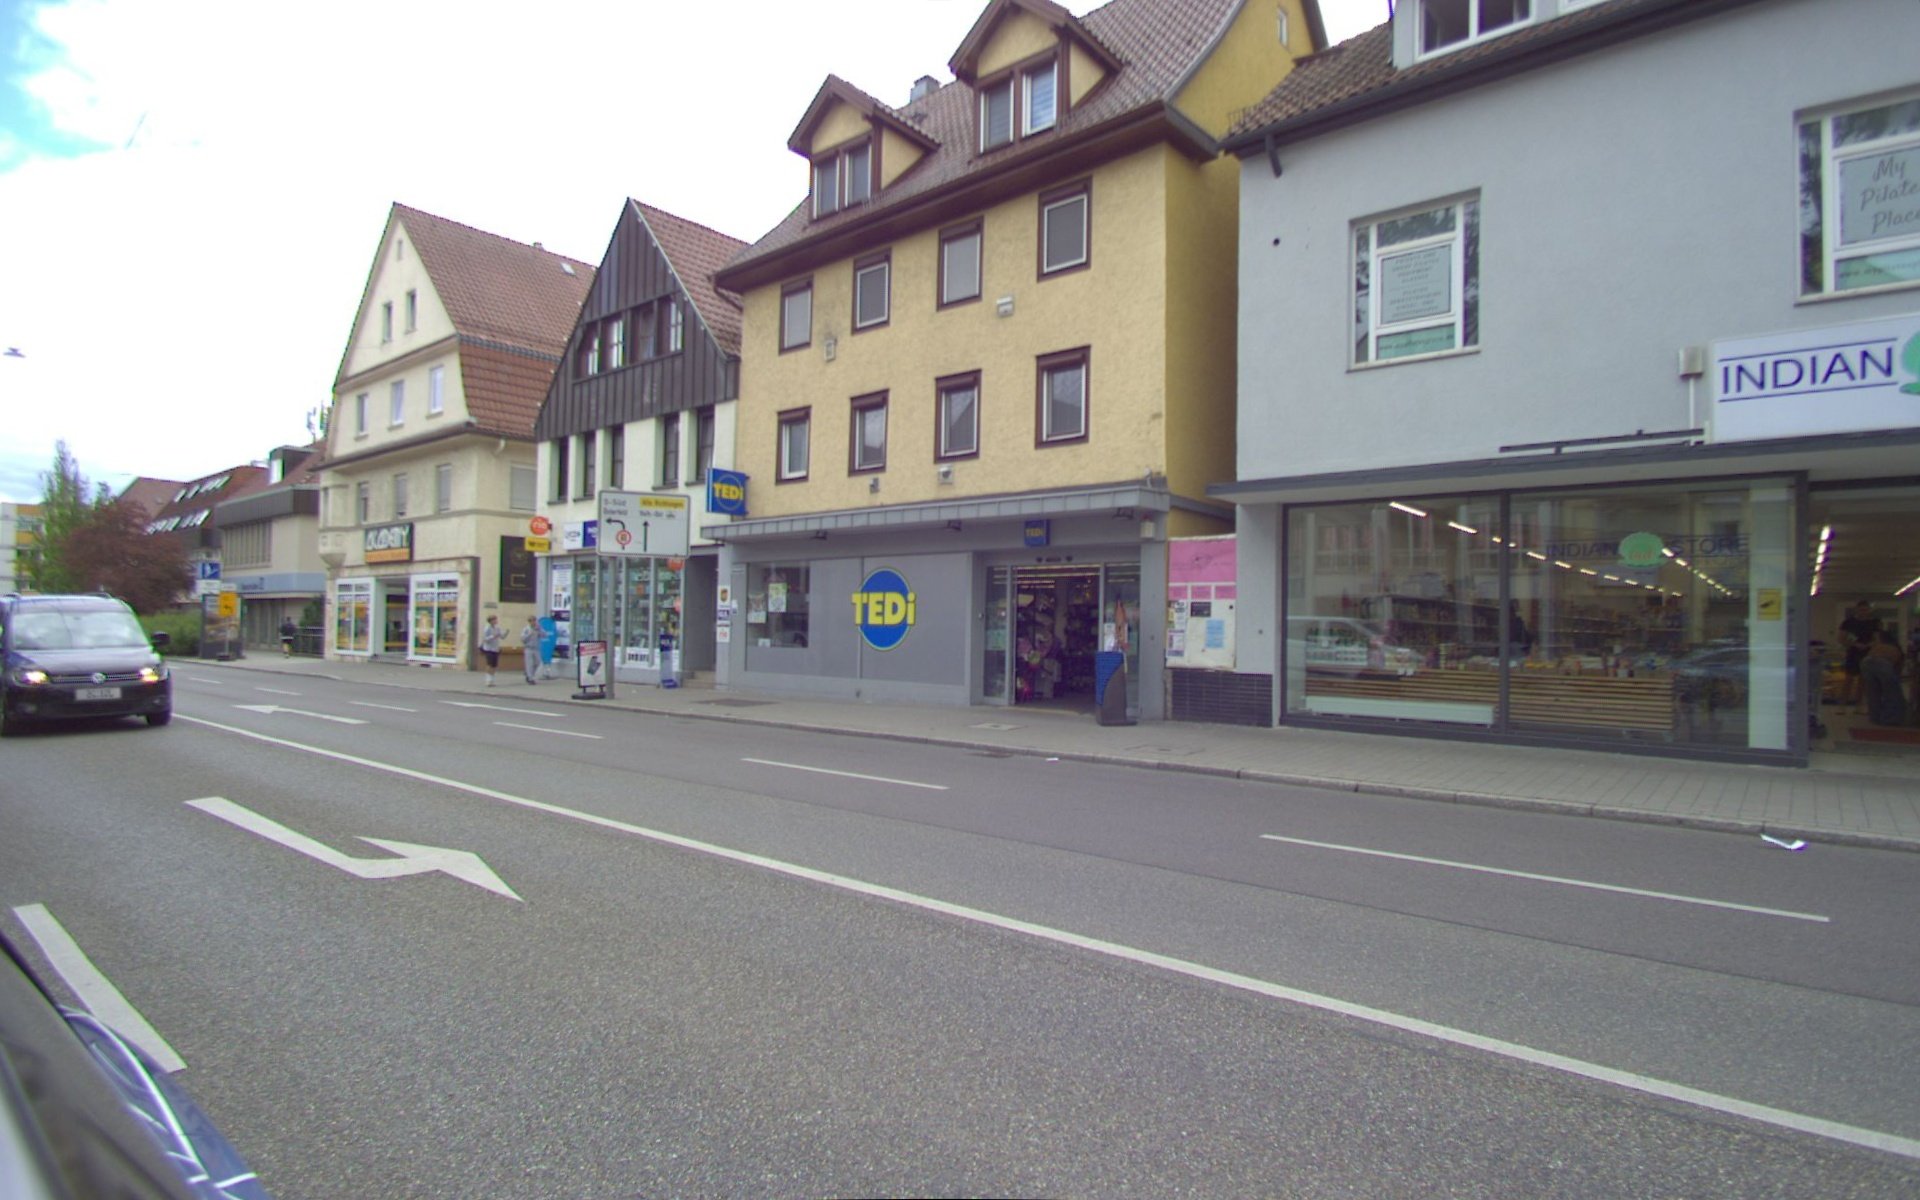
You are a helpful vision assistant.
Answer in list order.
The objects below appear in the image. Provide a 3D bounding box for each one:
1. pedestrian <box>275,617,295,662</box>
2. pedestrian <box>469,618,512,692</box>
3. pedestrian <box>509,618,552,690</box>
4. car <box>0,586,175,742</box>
[{"bbox_3d":[-28.849,1.686,43.230,0.592,1.903,0.544,-1,-1,37],"label":"pedestrian"},{"bbox_3d":[-11.147,1.287,24.042,0.742,1.703,0.680,-1,-1,41],"label":"pedestrian"},{"bbox_3d":[-10.409,1.287,24.518,0.709,1.683,0.680,-1,0,41],"label":"pedestrian"},{"bbox_3d":[-12.657,0.800,14.261,4.632,1.869,1.726,-1,-1,42],"label":"car"}]
